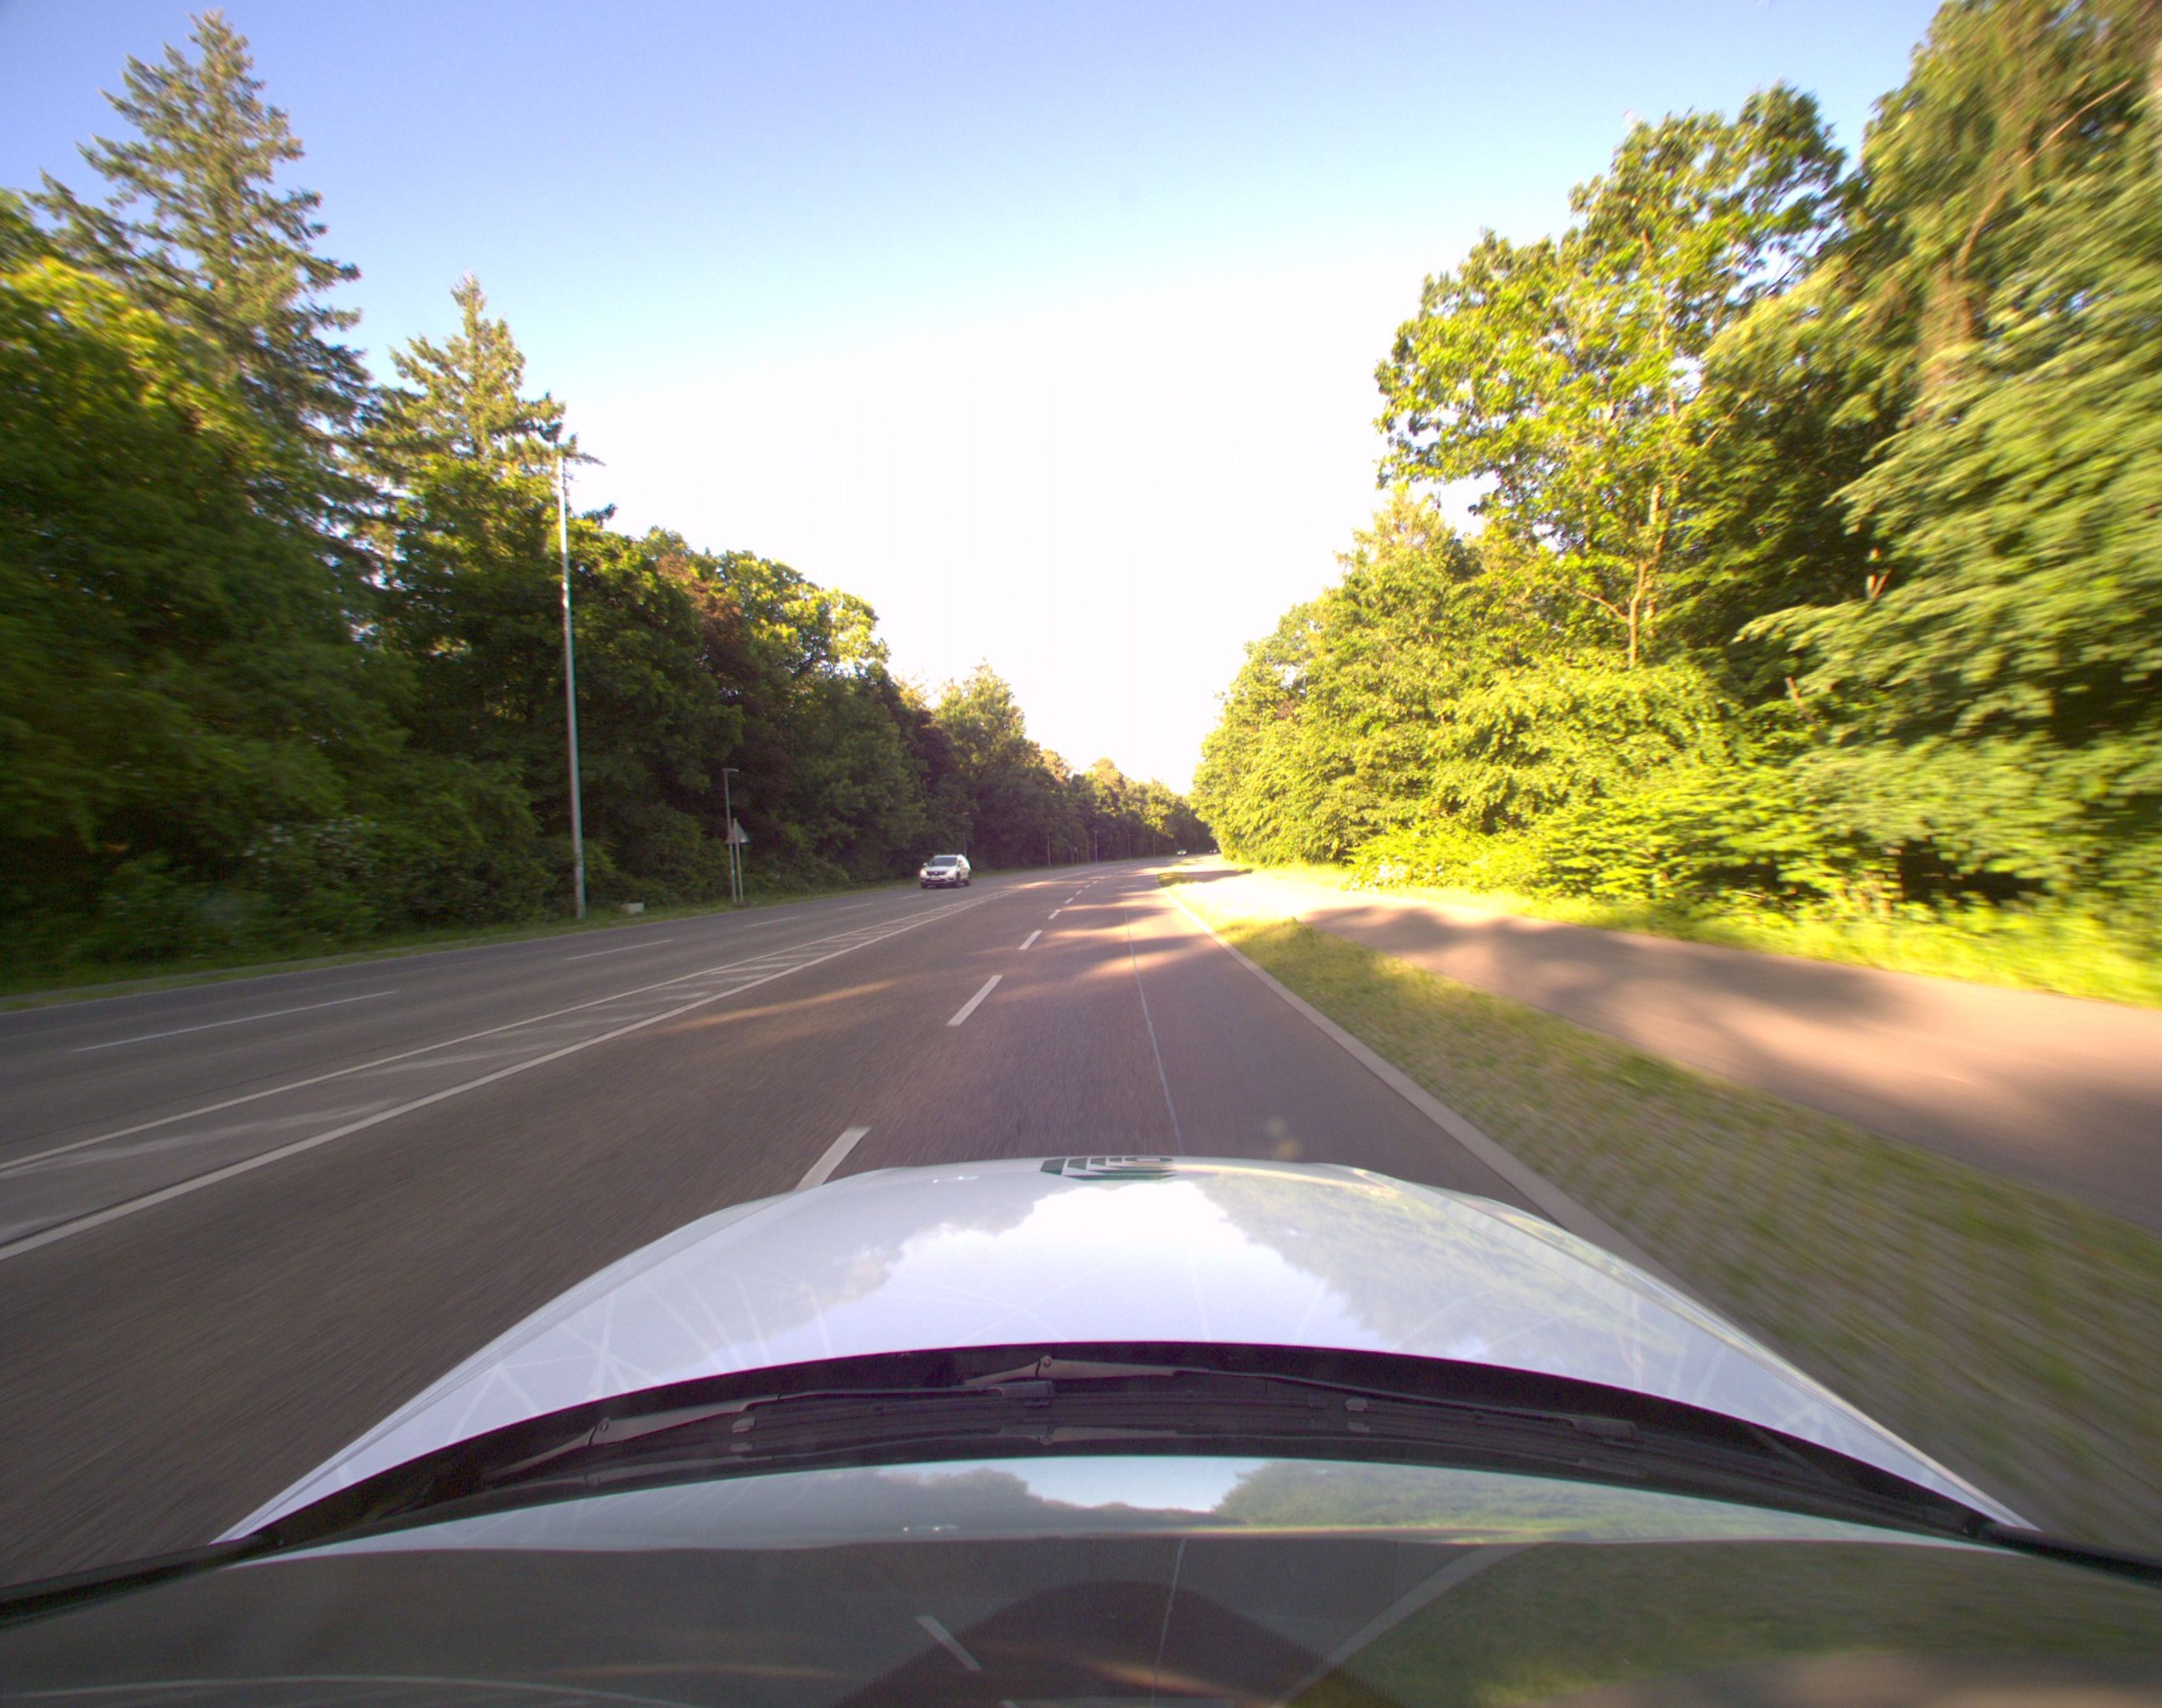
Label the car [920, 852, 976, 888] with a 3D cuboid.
[{"bbox_3d":[-6.753,0.762,41.710,1.901,1.664,4.736,-2,0,2],"label":"car"}]
